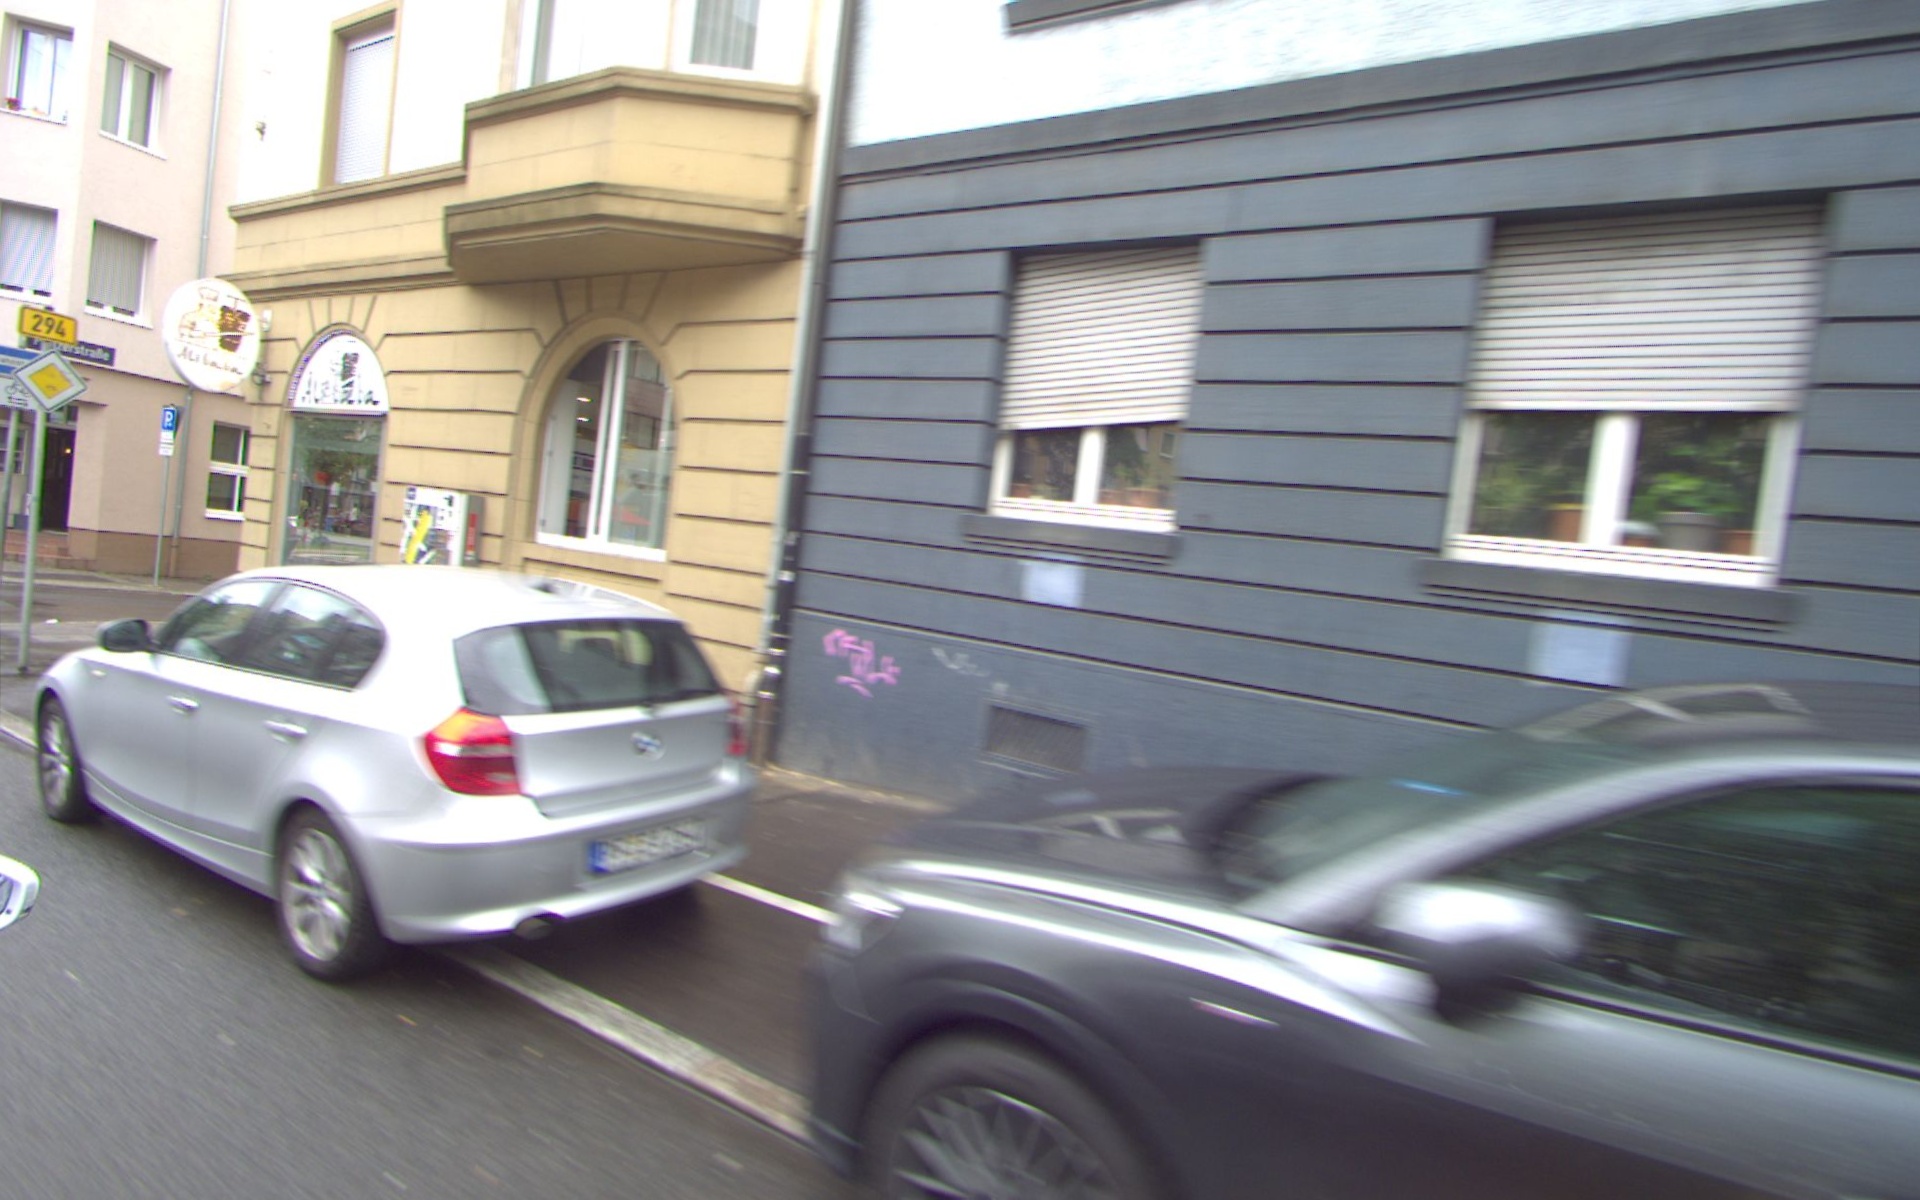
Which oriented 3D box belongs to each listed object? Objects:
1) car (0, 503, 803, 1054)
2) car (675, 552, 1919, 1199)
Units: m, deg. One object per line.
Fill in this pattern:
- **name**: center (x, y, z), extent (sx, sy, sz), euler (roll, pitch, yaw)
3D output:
- **car**: center (-2.827, 0.457, 4.726), extent (4.022, 1.483, 1.569), euler (6, 2, 33)
- **car**: center (1.617, 0.896, 2.041), extent (4.223, 1.578, 1.817), euler (6, 2, 33)
